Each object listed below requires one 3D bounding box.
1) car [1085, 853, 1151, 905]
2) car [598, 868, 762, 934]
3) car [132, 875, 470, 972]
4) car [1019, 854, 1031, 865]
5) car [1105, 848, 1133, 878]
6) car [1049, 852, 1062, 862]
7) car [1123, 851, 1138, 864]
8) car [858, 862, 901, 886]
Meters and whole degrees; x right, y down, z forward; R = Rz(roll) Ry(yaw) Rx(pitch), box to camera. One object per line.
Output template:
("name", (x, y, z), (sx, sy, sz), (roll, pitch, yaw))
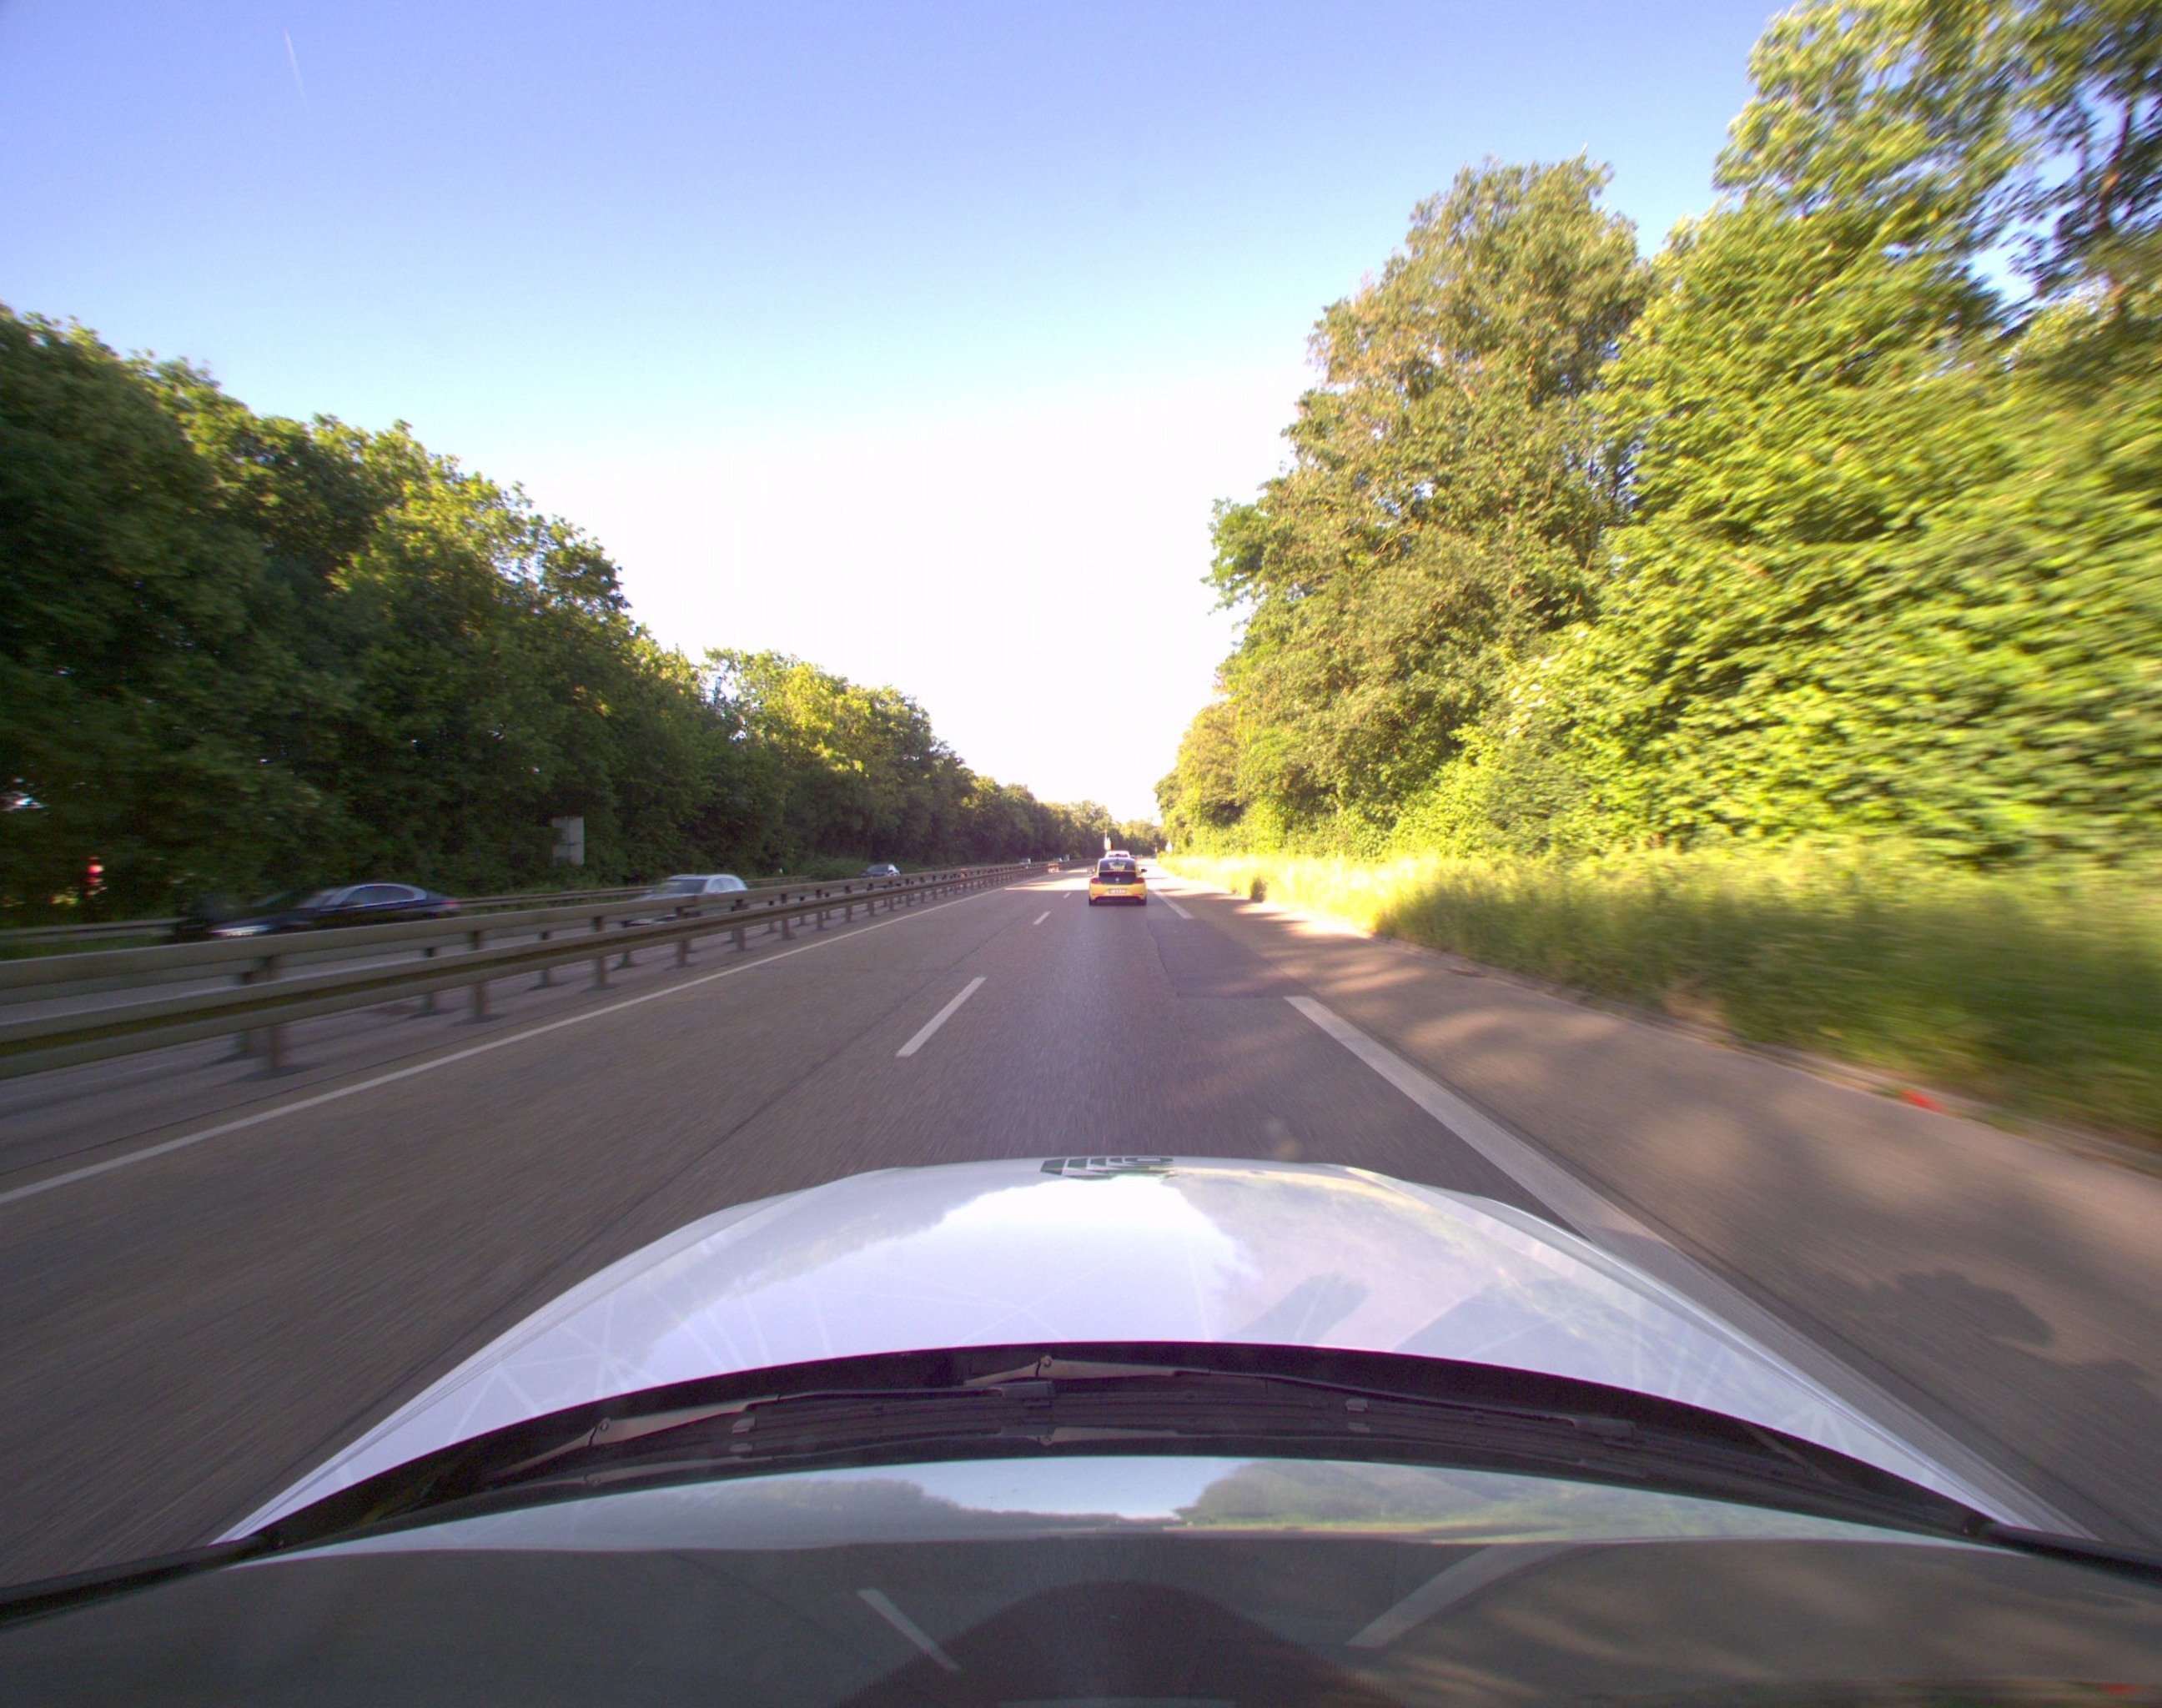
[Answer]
("car", (1.229, 0.746, 26.129), (1.930, 1.508, 3.426), (-2, 0, 4))
("car", (-10.918, 1.218, 22.676), (1.986, 1.464, 4.743), (-3, 0, 2))
("car", (-15.419, 1.272, 16.626), (1.986, 1.464, 4.905), (-3, 0, 2))
("car", (-8.489, 0.772, 122.576), (1.408, 1.619, 2.877), (-2, 0, 3))
("car", (2.445, 0.544, 51.892), (1.734, 1.830, 3.425), (0, 0, 3))
("car", (-4.768, 0.535, 152.431), (1.985, 1.750, 4.554), (-3, 0, 3))
("car", (7.923, 0.536, 130.117), (2.254, 1.875, 5.079), (-1, 0, 2))
("car", (-12.823, 1.256, 51.992), (1.599, 1.423, 4.002), (-1, 0, 2))
